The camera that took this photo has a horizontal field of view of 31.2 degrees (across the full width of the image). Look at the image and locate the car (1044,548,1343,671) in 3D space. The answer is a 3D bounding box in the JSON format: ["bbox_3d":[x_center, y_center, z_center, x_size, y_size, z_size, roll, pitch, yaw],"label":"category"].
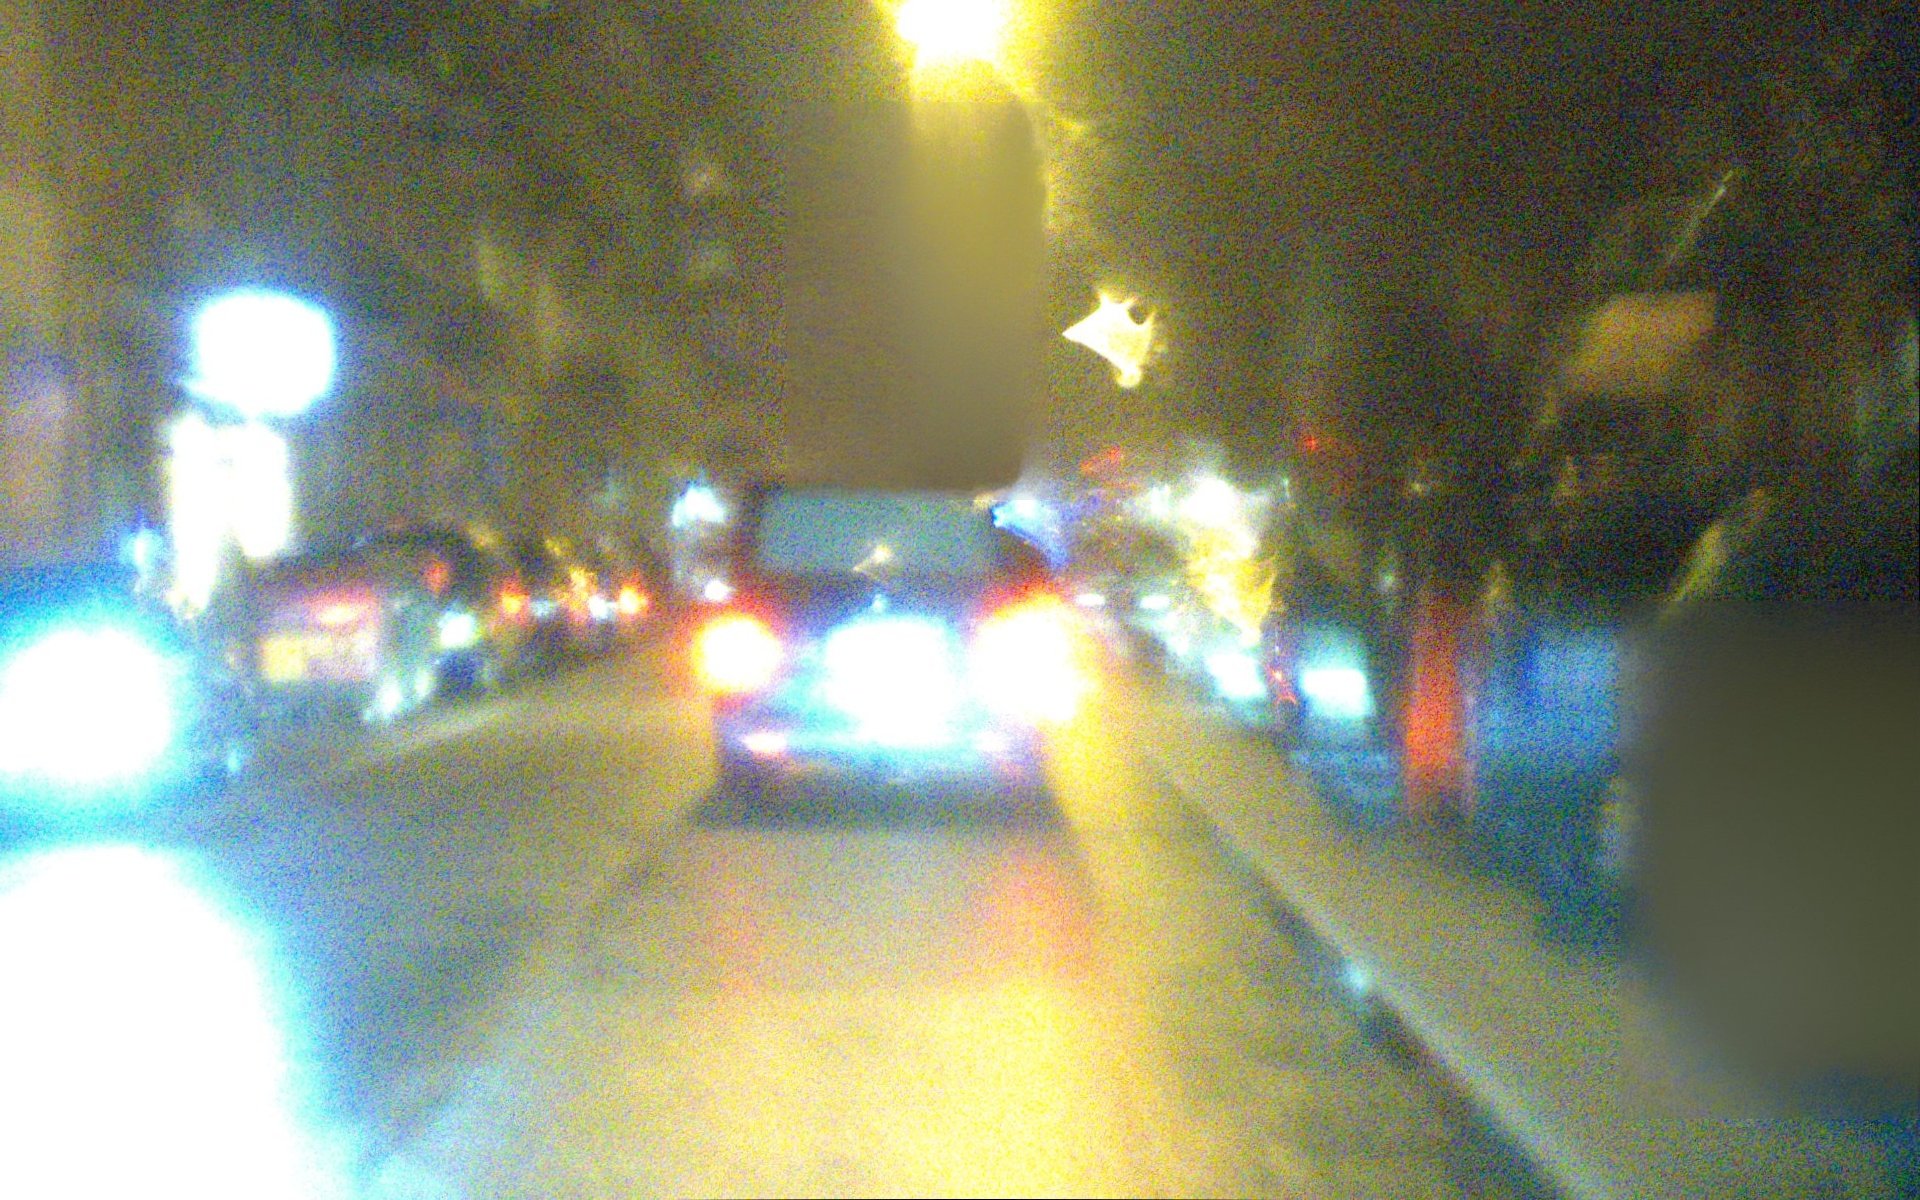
[{"bbox_3d":[3.156,0.115,46.437,3.671,1.455,1.604,-3,1,-26],"label":"car"}]

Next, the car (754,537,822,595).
[{"bbox_3d":[-4.709,-0.944,93.695,1.812,1.552,4.077,0,1,-3],"label":"car"}]

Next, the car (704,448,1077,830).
[{"bbox_3d":[-0.375,0.203,20.579,1.993,2.043,4.000,-1,0,0],"label":"car"}]

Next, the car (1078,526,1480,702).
[{"bbox_3d":[3.148,0.120,33.784,3.641,1.536,1.560,-3,1,-30],"label":"car"}]

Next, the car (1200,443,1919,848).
[{"bbox_3d":[3.533,0.178,18.580,4.235,1.852,1.716,-4,1,-35],"label":"car"}]

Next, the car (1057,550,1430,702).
[{"bbox_3d":[3.285,0.280,39.597,3.988,1.547,1.804,-3,1,-35],"label":"car"}]

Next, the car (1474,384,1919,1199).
[{"bbox_3d":[3.346,0.472,7.326,4.092,1.758,1.859,-1,1,-24],"label":"car"}]

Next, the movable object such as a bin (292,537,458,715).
[{"bbox_3d":[-4.904,0.206,28.883,1.165,1.454,1.107,1,1,2],"label":"movable object such as a bin"}]

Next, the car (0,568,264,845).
[{"bbox_3d":[-5.178,0.522,19.369,1.654,1.354,4.222,-1,1,0],"label":"car"}]

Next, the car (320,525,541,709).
[{"bbox_3d":[-5.154,0.131,33.865,1.603,1.700,3.721,-1,1,0],"label":"car"}]

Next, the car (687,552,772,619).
[{"bbox_3d":[-5.205,-0.351,78.000,1.587,1.477,3.793,0,1,1],"label":"car"}]

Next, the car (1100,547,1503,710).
[{"bbox_3d":[3.712,0.289,37.128,3.988,1.547,1.999,-3,1,-37],"label":"car"}]

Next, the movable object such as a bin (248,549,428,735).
[{"bbox_3d":[-4.996,0.322,27.694,1.208,1.454,1.107,1,1,2],"label":"movable object such as a bin"}]

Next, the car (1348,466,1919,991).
[{"bbox_3d":[3.481,0.380,13.069,3.791,1.722,1.741,-1,1,-35],"label":"car"}]

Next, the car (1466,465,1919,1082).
[{"bbox_3d":[3.790,0.417,10.581,4.048,1.605,1.845,-1,1,-23],"label":"car"}]

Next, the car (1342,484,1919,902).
[{"bbox_3d":[3.779,0.349,15.914,3.763,1.722,1.717,-1,1,-33],"label":"car"}]

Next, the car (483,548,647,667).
[{"bbox_3d":[-5.121,0.061,45.033,1.686,1.450,4.316,0,1,0],"label":"car"}]

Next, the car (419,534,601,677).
[{"bbox_3d":[-5.161,0.023,39.855,1.603,1.547,4.026,0,1,0],"label":"car"}]

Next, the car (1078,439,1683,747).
[{"bbox_3d":[3.446,-0.102,27.748,4.711,2.240,1.946,-3,1,-36],"label":"car"}]
